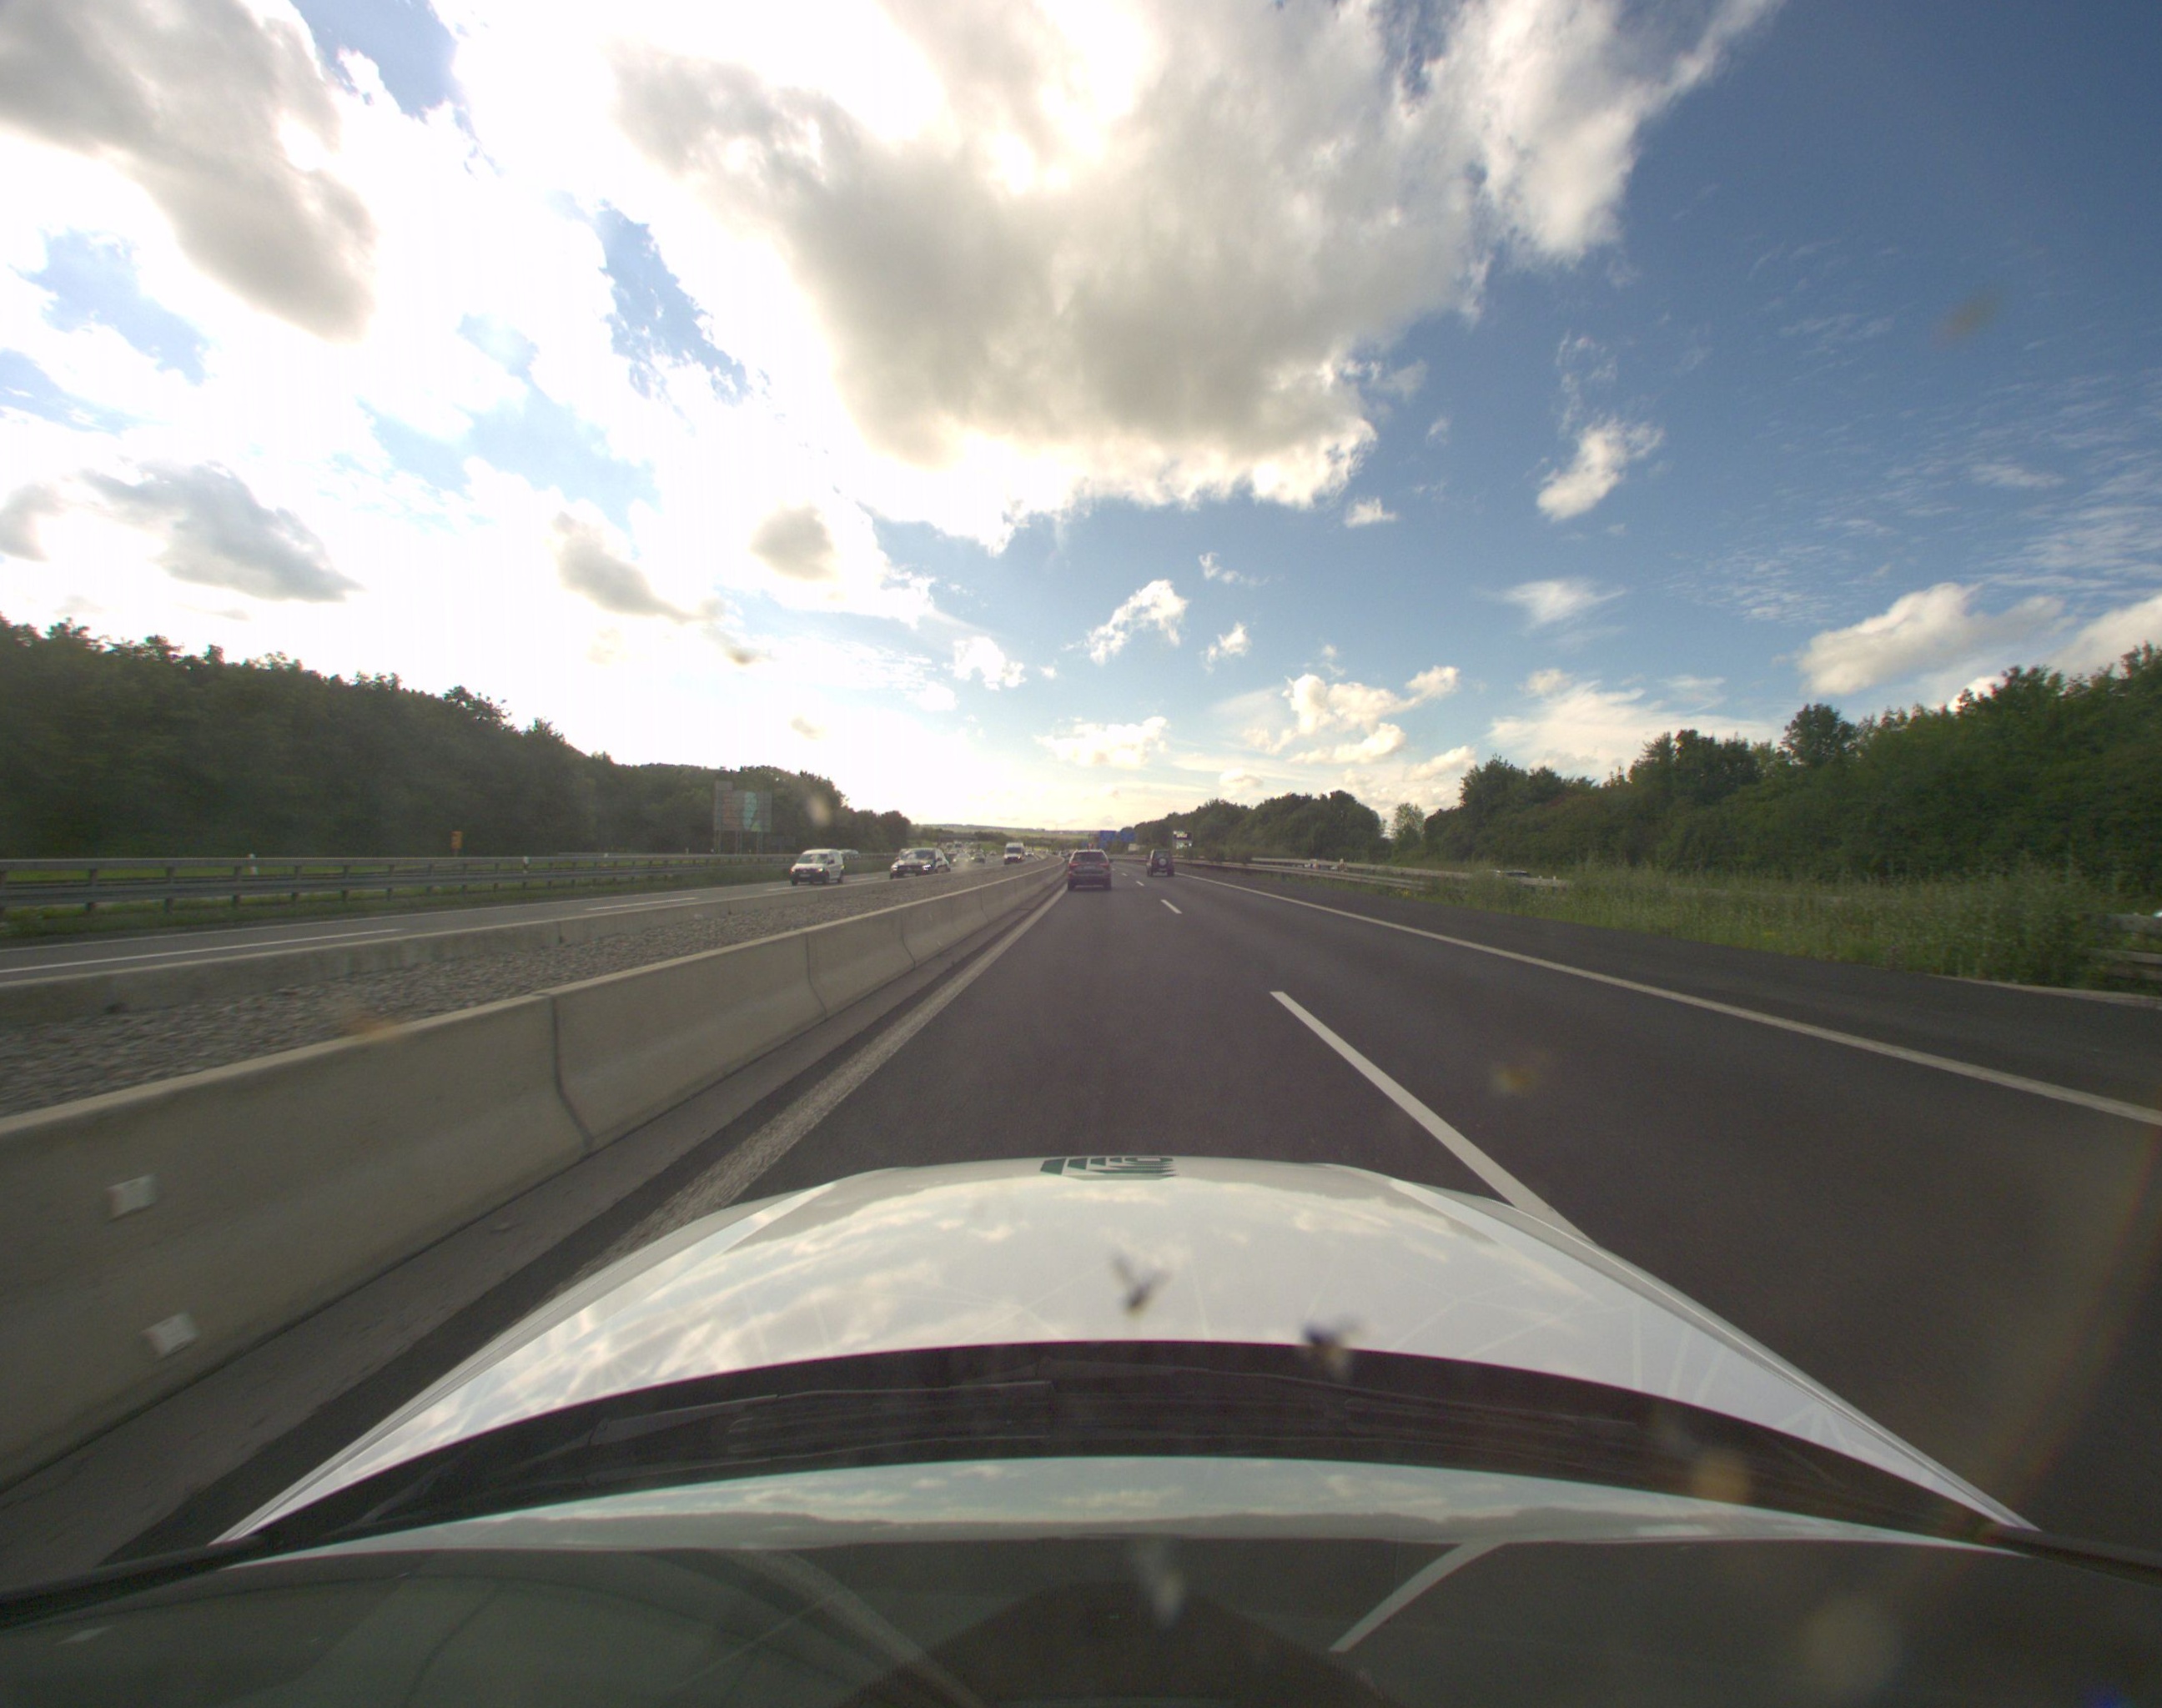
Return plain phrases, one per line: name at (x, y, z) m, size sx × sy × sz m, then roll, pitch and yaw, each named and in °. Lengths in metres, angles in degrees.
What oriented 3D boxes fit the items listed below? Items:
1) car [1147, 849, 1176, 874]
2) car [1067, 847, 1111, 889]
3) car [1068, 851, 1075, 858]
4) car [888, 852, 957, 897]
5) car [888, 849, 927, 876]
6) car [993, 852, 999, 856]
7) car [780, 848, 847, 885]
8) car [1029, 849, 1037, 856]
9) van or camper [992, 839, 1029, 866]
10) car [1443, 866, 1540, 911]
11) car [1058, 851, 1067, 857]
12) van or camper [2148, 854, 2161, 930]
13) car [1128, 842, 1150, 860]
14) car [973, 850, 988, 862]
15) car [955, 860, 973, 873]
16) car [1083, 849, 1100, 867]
car at (5.275, 0.489, 53.732) m, size 1.582 × 1.597 × 4.096 m, roll 0°, pitch 0°, yaw 0°
car at (0.362, 0.599, 36.076) m, size 1.811 × 1.736 × 5.186 m, roll 0°, pitch -1°, yaw 0°
car at (-2.985, 0.104, 251.569) m, size 1.991 × 1.929 × 3.990 m, roll 0°, pitch -2°, yaw -6°
car at (-7.219, 0.878, 37.618) m, size 1.986 × 1.920 × 5.152 m, roll 0°, pitch 0°, yaw 2°
car at (-13.153, 0.601, 61.998) m, size 1.908 × 1.906 × 5.284 m, roll -1°, pitch 0°, yaw -1°
car at (-24.573, 0.049, 235.545) m, size 1.622 × 1.293 × 4.751 m, roll 0°, pitch 0°, yaw -2°
car at (-13.697, 0.591, 41.971) m, size 1.987 × 1.814 × 4.240 m, roll 0°, pitch 0°, yaw 0°
car at (-11.604, -0.283, 196.983) m, size 1.837 × 1.611 × 5.133 m, roll 0°, pitch 0°, yaw -1°
van or camper at (-7.878, -0.160, 91.599) m, size 3.323 × 2.916 × 7.467 m, roll 0°, pitch 0°, yaw 1°
car at (15.822, 1.294, 31.605) m, size 1.778 × 1.571 × 4.024 m, roll 0°, pitch 0°, yaw 0°
car at (-4.726, 0.009, 209.598) m, size 1.990 × 1.684 × 3.993 m, roll 0°, pitch -2°, yaw -4°
van or camper at (32.569, 1.089, 21.042) m, size 2.188 × 2.180 × 5.765 m, roll 0°, pitch 0°, yaw -7°
car at (15.022, -0.689, 211.836) m, size 4.716 × 4.266 × 11.393 m, roll 0°, pitch -2°, yaw -2°
car at (-14.443, 0.270, 117.374) m, size 1.721 × 1.699 × 4.149 m, roll 0°, pitch 0°, yaw -2°
car at (-13.413, 1.424, 93.619) m, size 1.782 × 1.417 × 4.986 m, roll 0°, pitch 0°, yaw -6°
car at (1.334, 0.479, 99.134) m, size 2.023 × 2.151 × 4.000 m, roll 0°, pitch 0°, yaw 1°
